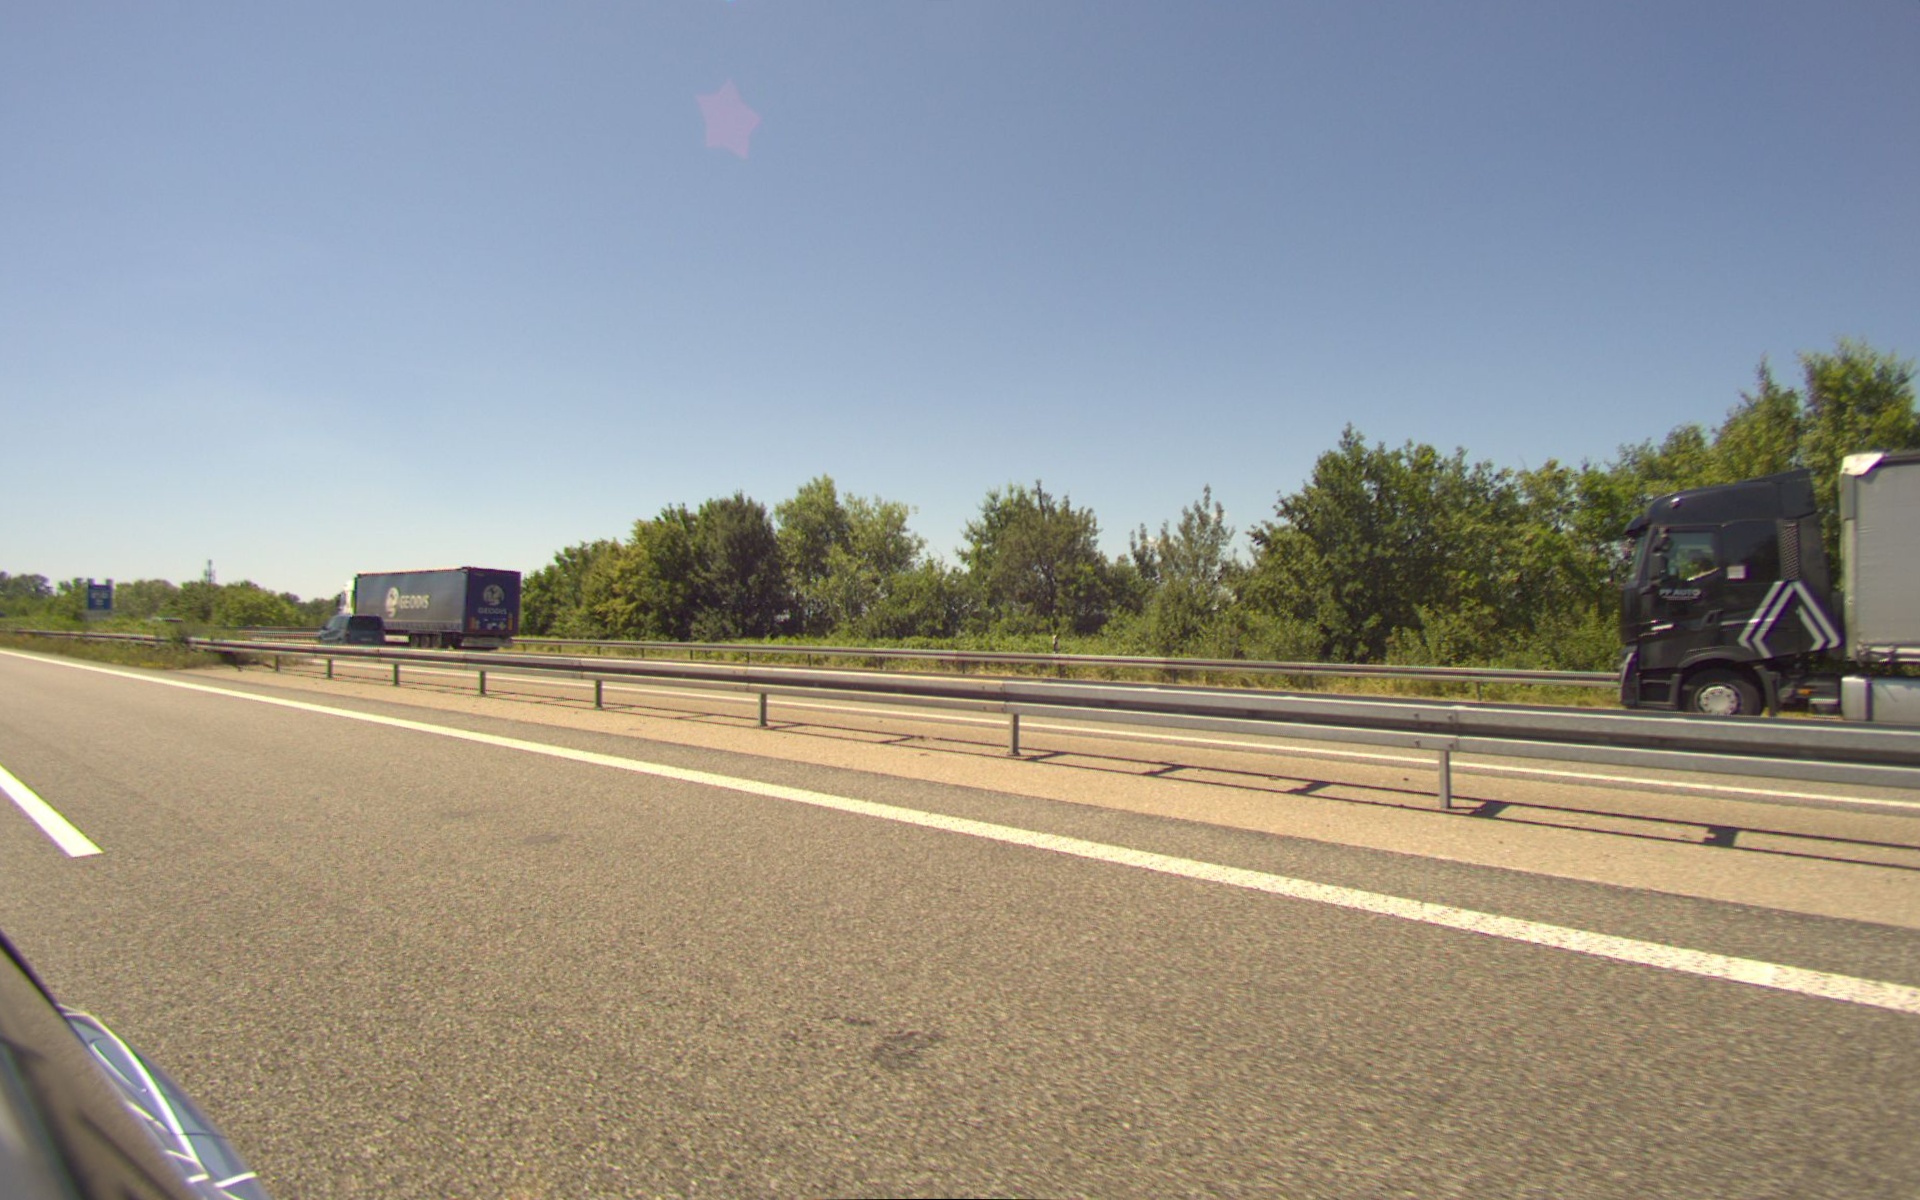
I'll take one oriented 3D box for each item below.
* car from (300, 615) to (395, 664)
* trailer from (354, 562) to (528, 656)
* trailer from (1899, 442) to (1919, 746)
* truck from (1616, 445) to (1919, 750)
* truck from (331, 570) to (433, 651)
[{"bbox_3d":[-28.555,1.780,47.128,5.354,2.003,2.206,-1,2,41],"label":"car"},{"bbox_3d":[-26.375,0.545,50.899,13.535,4.218,2.889,-1,-3,41],"label":"trailer"},{"bbox_3d":[19.192,-0.160,10.536,13.532,4.218,3.314,-2,-3,41],"label":"trailer"},{"bbox_3d":[13.839,-0.010,15.246,6.191,4.161,3.164,-2,-2,41],"label":"truck"},{"bbox_3d":[-31.879,0.612,55.733,6.191,4.161,2.886,-1,-4,41],"label":"truck"}]
